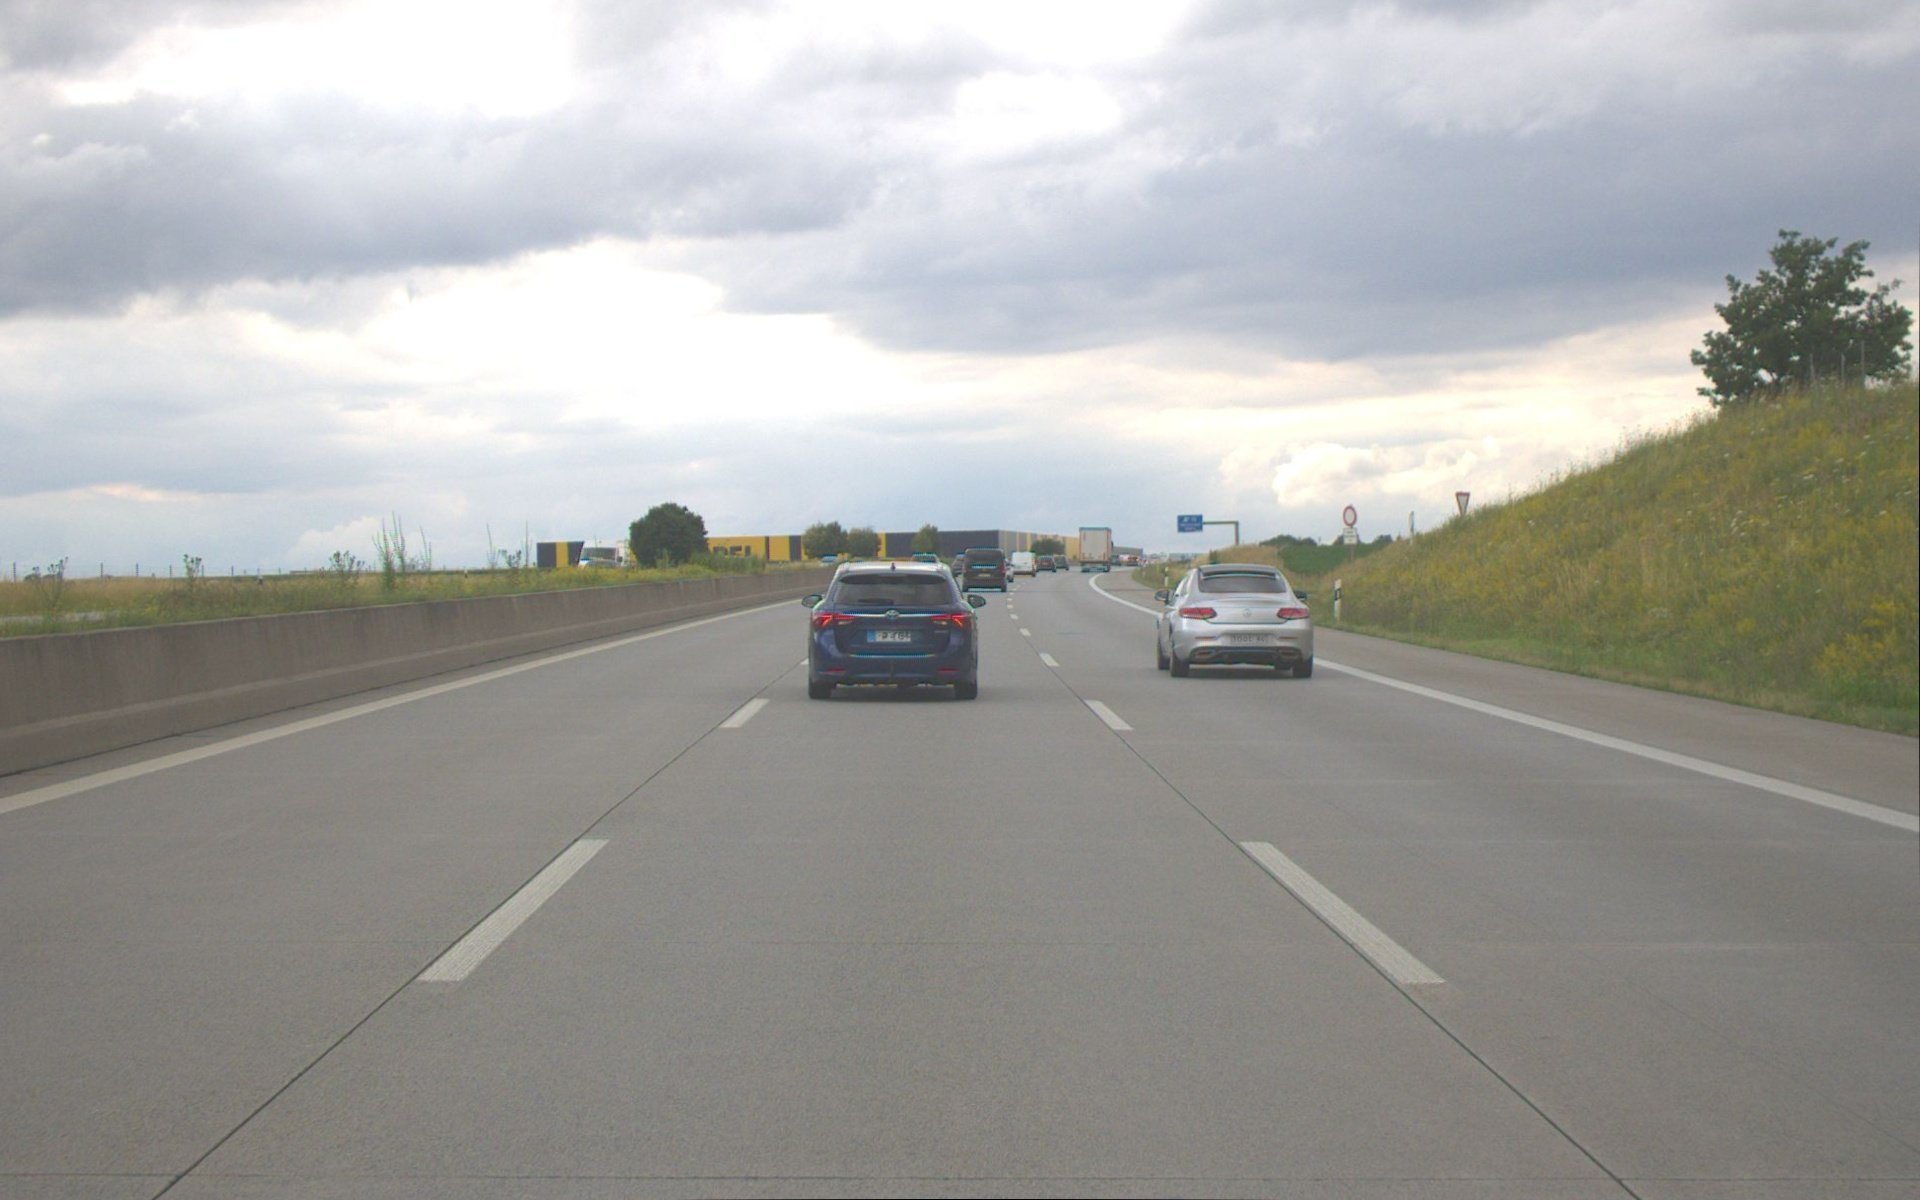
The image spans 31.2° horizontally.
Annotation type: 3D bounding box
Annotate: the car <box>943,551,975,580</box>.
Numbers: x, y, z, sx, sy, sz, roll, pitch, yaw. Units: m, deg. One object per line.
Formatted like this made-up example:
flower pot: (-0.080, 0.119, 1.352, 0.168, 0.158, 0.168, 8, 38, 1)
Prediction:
car: (-0.087, -2.447, 246.363, 1.993, 2.007, 4.000, 1, 0, -3)

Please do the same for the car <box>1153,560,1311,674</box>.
car: (3.465, 0.196, 44.358, 1.789, 1.399, 4.221, 0, 0, 1)

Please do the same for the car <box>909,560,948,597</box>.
car: (-1.719, -1.159, 187.614, 2.046, 2.007, 4.000, 1, 0, 0)

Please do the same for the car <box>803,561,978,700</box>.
car: (-0.724, 0.294, 36.965, 1.774, 1.408, 4.000, 0, 0, 0)

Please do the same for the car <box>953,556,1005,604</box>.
car: (0.790, -0.849, 147.691, 1.993, 2.007, 4.000, 1, 0, -3)

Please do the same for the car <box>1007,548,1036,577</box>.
car: (4.455, -2.681, 248.350, 1.993, 2.007, 4.000, 1, 0, 2)
